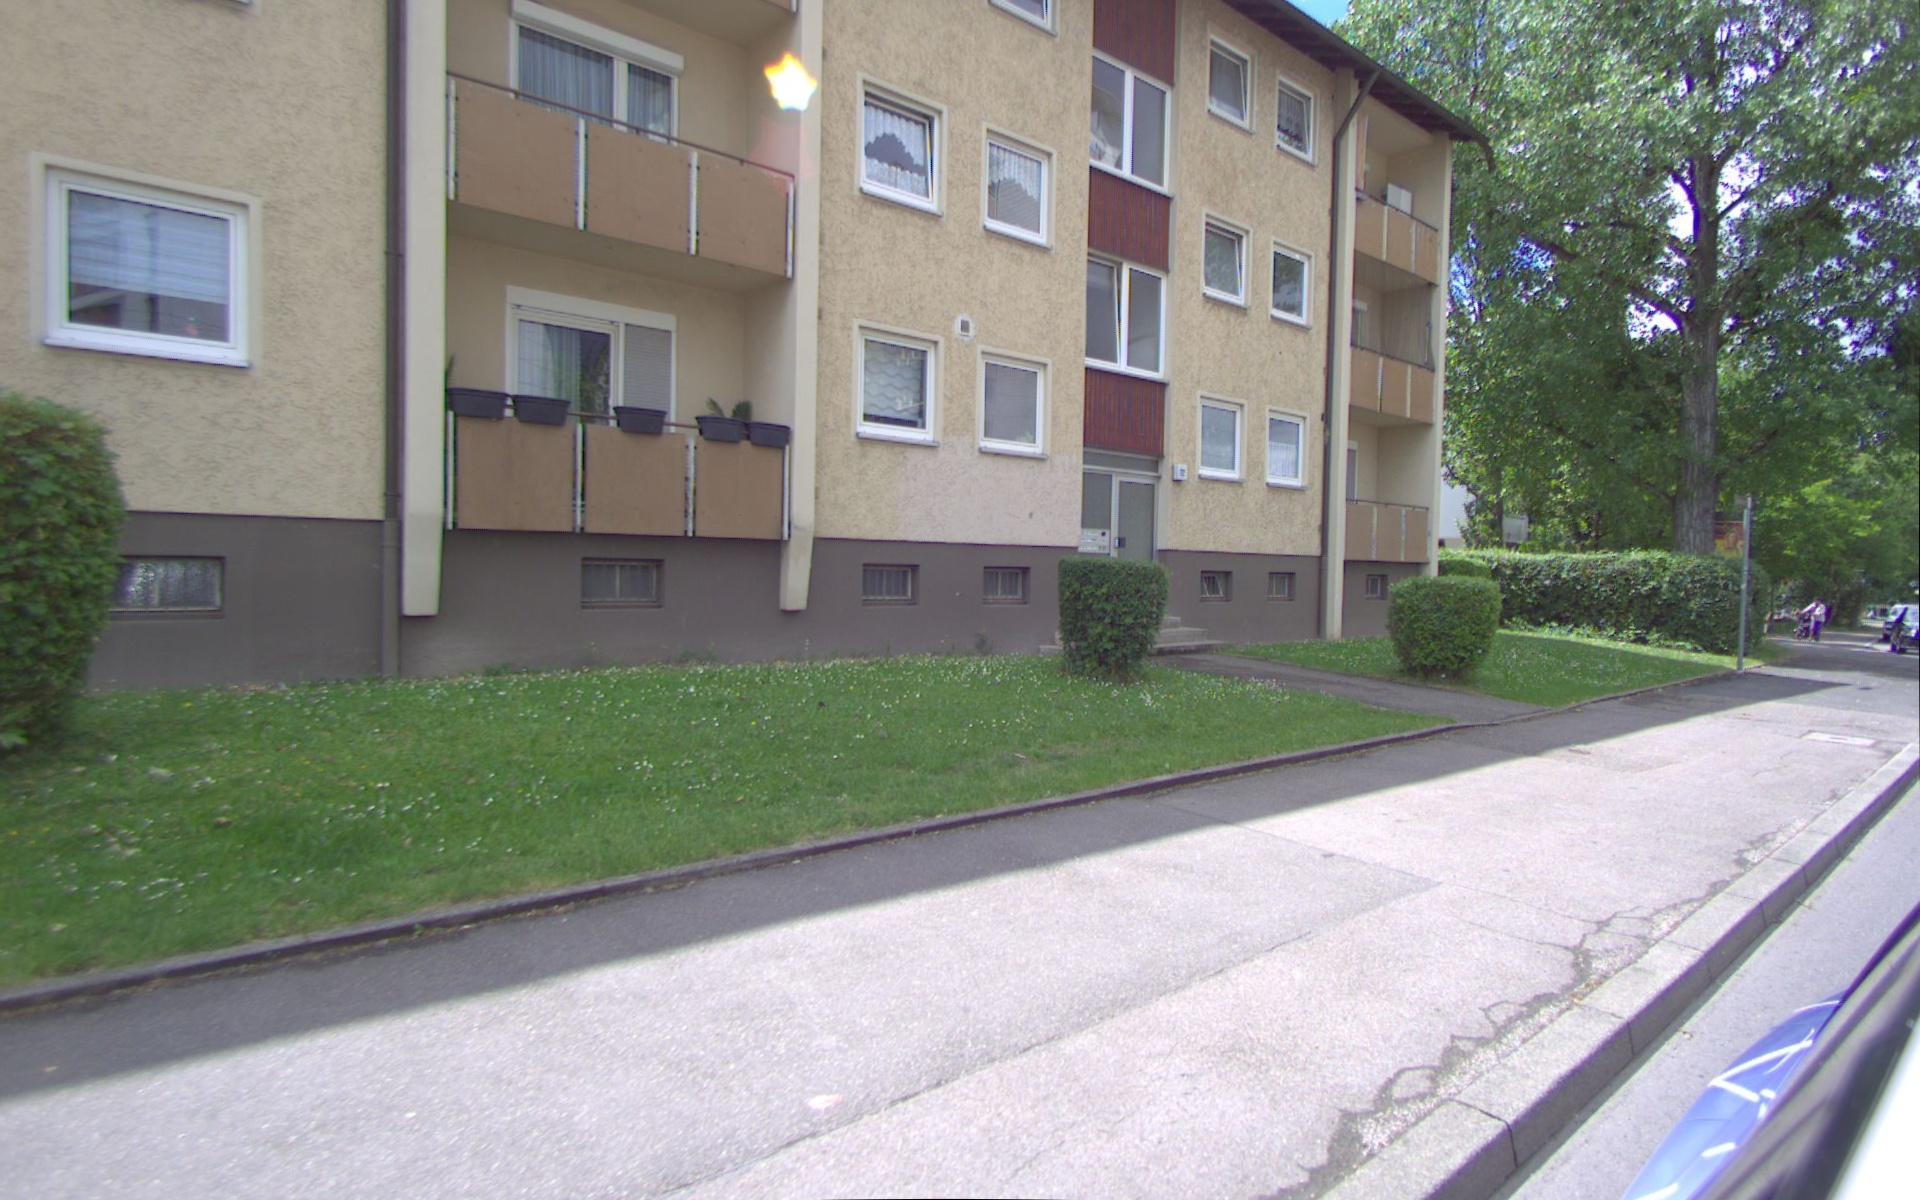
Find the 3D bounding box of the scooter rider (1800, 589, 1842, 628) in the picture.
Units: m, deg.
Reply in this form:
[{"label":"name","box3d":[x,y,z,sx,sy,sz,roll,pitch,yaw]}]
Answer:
[{"label":"scooter rider","box3d":[29.228,0.292,34.356,1.260,1.235,0.886,2,2,-43]}]

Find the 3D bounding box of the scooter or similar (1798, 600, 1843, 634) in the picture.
[{"label":"scooter or similar","box3d":[29.230,0.584,34.373,2.078,1.077,0.891,2,2,-44]}]

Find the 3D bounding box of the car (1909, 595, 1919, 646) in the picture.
[{"label":"car","box3d":[29.374,0.654,29.865,3.763,1.466,1.817,1,3,-45]}]

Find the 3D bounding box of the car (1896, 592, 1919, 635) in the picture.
[{"label":"car","box3d":[38.659,0.576,40.383,1.785,1.584,4.497,5,3,44]}]

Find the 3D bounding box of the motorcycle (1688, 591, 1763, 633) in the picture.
[{"label":"motorcycle","box3d":[25.003,0.388,33.088,1.784,1.225,0.705,4,2,27]}]
